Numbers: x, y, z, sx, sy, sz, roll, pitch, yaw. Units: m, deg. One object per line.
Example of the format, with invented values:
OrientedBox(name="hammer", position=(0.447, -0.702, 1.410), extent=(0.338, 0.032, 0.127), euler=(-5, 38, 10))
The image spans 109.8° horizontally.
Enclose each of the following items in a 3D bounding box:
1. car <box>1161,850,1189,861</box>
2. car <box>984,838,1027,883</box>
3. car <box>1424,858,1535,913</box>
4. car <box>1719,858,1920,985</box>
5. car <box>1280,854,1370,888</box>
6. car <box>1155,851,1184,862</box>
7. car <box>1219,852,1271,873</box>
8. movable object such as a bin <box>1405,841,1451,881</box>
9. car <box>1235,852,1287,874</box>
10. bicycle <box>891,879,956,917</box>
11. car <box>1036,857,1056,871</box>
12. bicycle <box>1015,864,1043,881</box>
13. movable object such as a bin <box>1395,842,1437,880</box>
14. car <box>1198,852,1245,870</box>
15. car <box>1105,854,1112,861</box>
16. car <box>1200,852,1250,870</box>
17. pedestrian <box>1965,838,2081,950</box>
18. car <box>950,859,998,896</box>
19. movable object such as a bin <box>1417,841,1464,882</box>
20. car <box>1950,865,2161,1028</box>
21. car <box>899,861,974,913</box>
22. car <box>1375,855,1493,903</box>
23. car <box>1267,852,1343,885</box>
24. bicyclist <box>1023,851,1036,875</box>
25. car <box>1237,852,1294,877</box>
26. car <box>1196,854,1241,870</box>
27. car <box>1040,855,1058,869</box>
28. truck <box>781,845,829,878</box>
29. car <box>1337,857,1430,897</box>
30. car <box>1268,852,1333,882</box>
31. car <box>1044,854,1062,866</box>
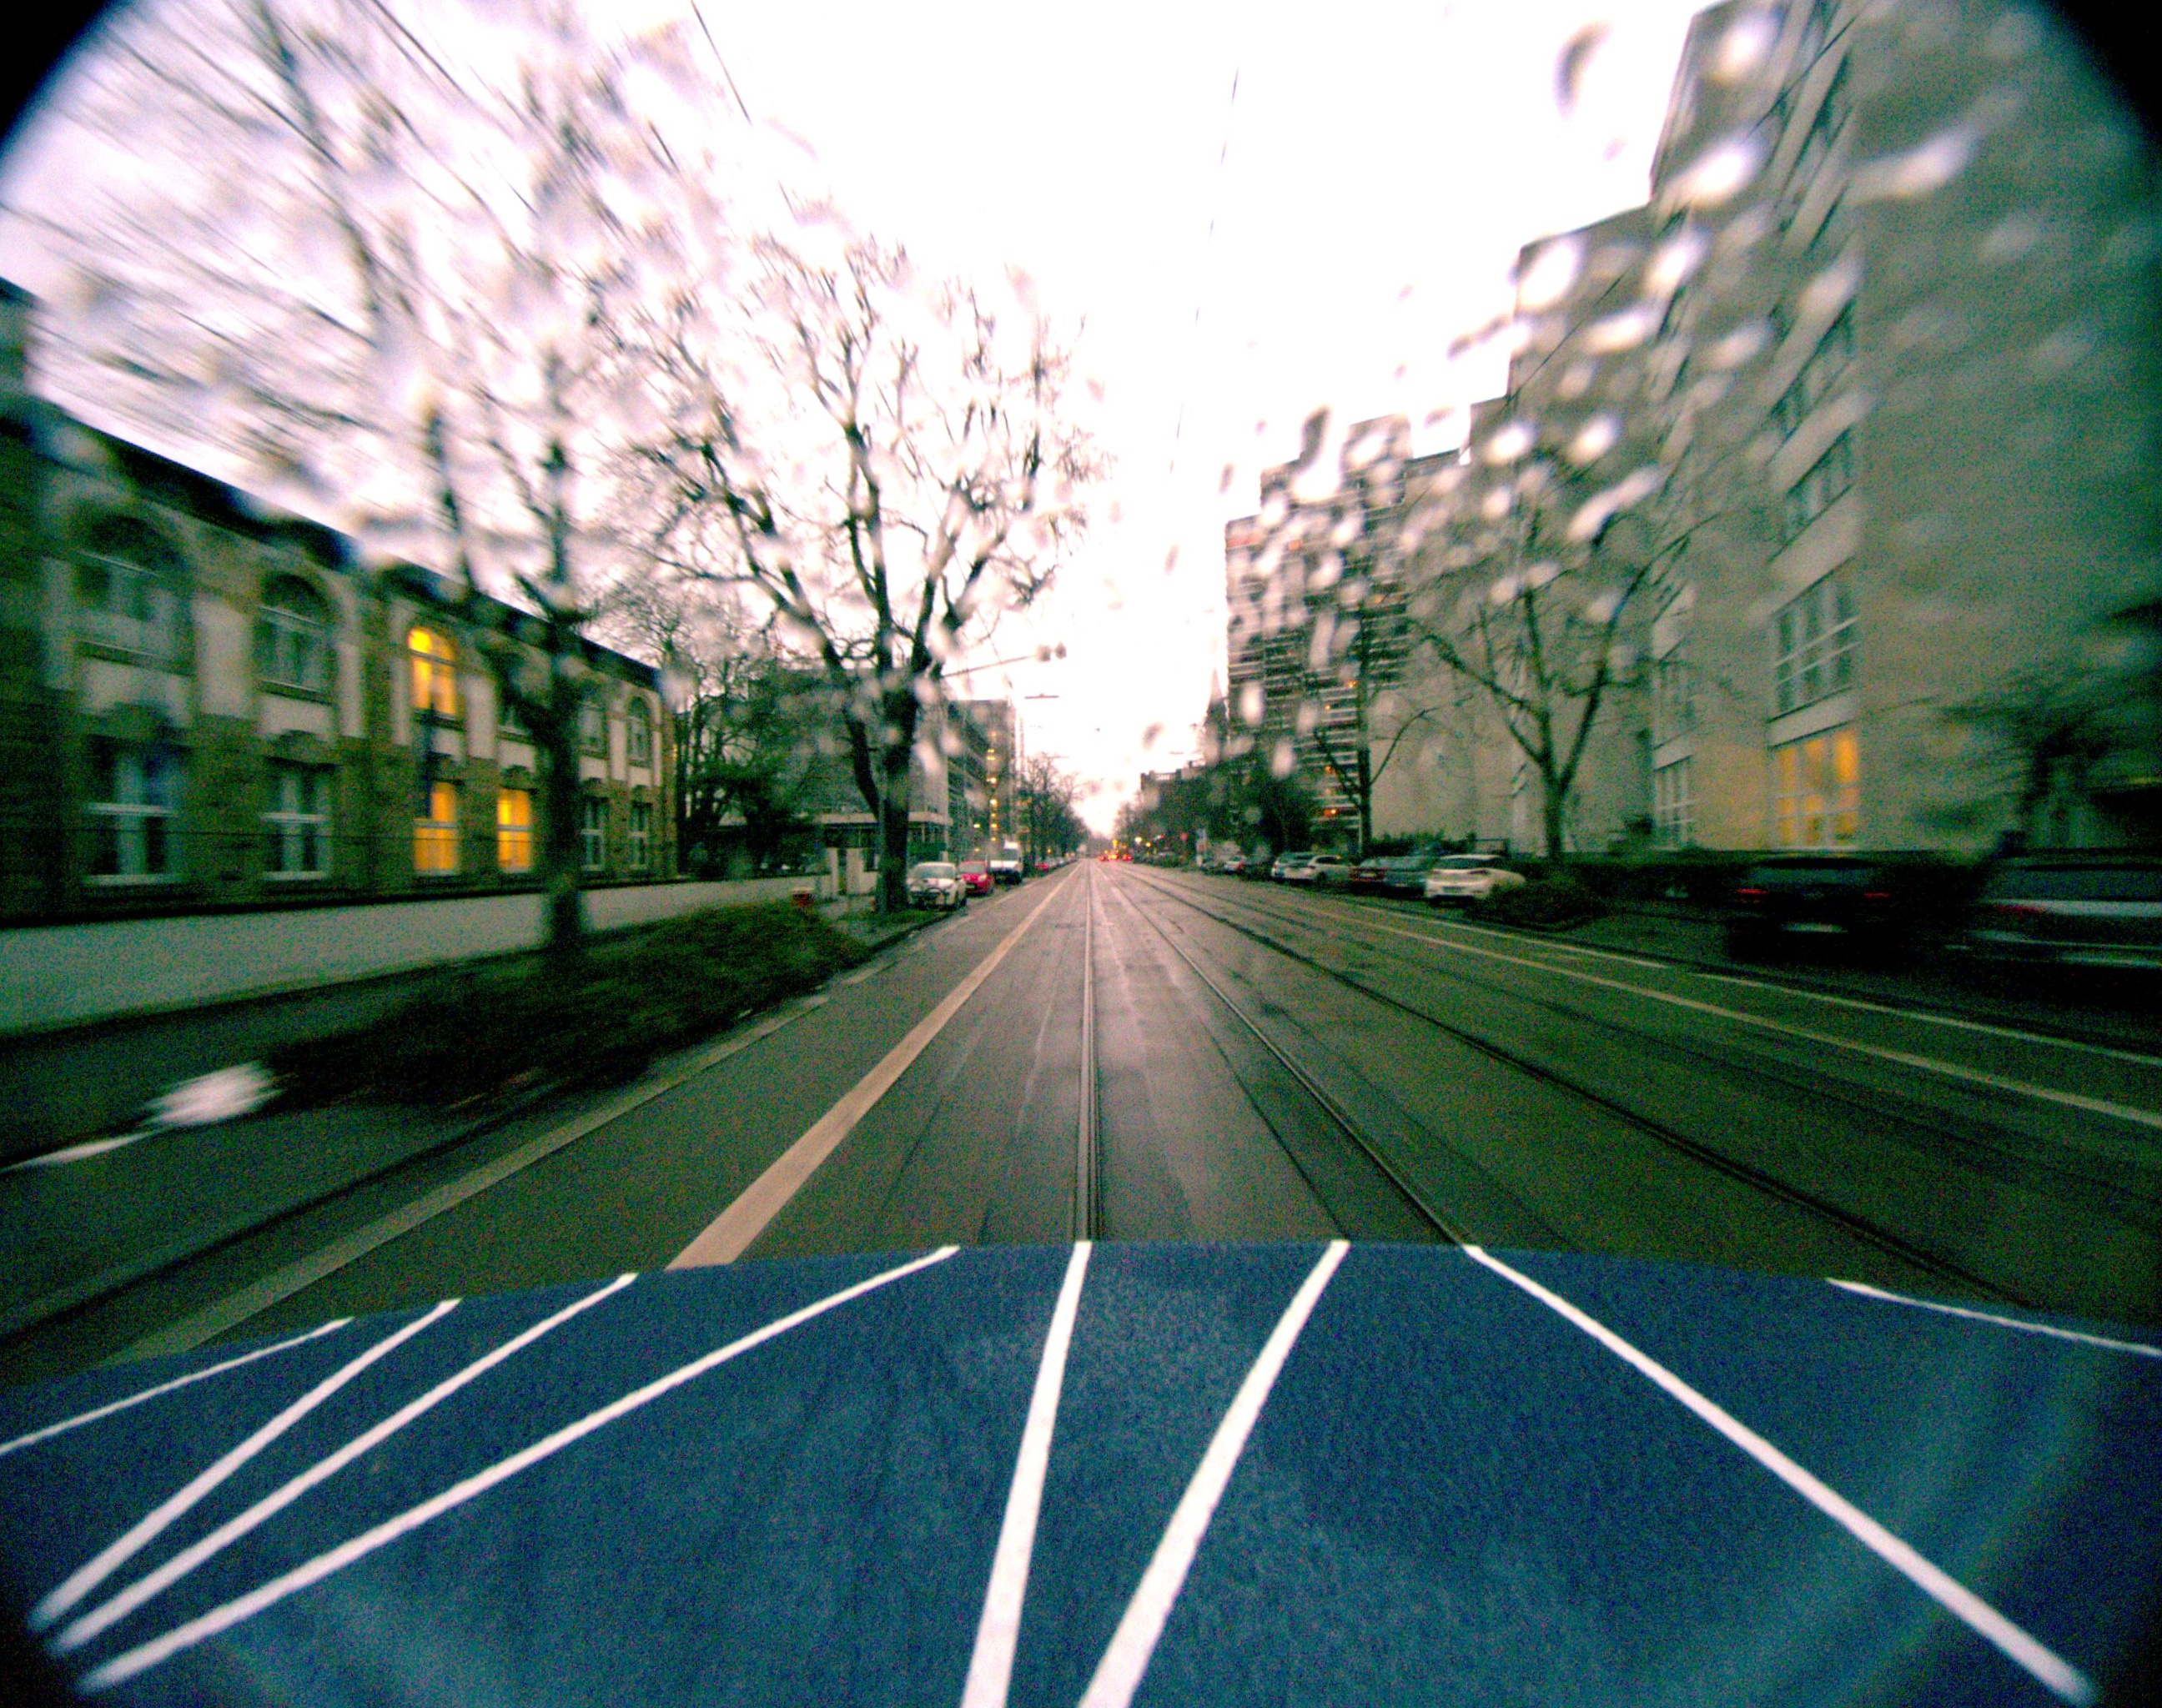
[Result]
OrientedBox(name="car", position=(13.528, 0.219, 109.038), extent=(3.995, 1.477, 1.673), euler=(0, 0, 7))
OrientedBox(name="car", position=(-4.380, 0.363, 44.805), extent=(2.130, 2.472, 5.438), euler=(0, 0, -2))
OrientedBox(name="car", position=(11.431, 0.837, 21.680), extent=(3.861, 1.415, 1.732), euler=(0, 0, -45))
OrientedBox(name="car", position=(10.738, 0.820, 11.055), extent=(4.008, 1.462, 1.826), euler=(-1, 0, -44))
OrientedBox(name="car", position=(11.141, 0.734, 34.596), extent=(4.007, 1.435, 1.732), euler=(0, 1, -32))
OrientedBox(name="car", position=(12.279, 0.369, 105.337), extent=(3.995, 1.477, 1.673), euler=(0, 0, 7))
OrientedBox(name="car", position=(11.822, 0.625, 54.665), extent=(1.788, 1.437, 4.009), euler=(-1, 0, 45))
OrientedBox(name="movable object such as a bin", position=(16.787, 0.347, 36.782), extent=(1.573, 1.849, 1.394), euler=(0, -1, 2))
OrientedBox(name="car", position=(12.307, 0.597, 51.799), extent=(3.458, 1.484, 1.725), euler=(0, 0, -41))
OrientedBox(name="bicycle", position=(-4.518, 1.257, 21.817), extent=(1.717, 1.064, 0.663), euler=(0, 0, 1))
OrientedBox(name="car", position=(-3.617, 1.020, 78.610), extent=(1.753, 1.379, 3.737), euler=(0, 0, 2))
OrientedBox(name="bicycle", position=(-3.656, 1.278, 53.272), extent=(1.895, 1.126, 0.730), euler=(0, 0, -15))
OrientedBox(name="movable object such as a bin", position=(16.818, 0.358, 38.180), extent=(1.573, 1.849, 1.318), euler=(0, -1, 2))
OrientedBox(name="car", position=(12.022, 0.601, 64.750), extent=(4.008, 1.454, 1.851), euler=(0, 0, -41))
OrientedBox(name="car", position=(6.794, 0.860, 186.694), extent=(1.751, 1.535, 4.296), euler=(0, 0, 3))
OrientedBox(name="car", position=(11.550, 0.572, 60.884), extent=(4.008, 1.370, 1.851), euler=(0, 0, -41))
OrientedBox(name="pedestrian", position=(14.647, 0.603, 11.840), extent=(0.598, 1.667, 0.973), euler=(0, 0, 1))
OrientedBox(name="car", position=(-4.572, 0.980, 33.019), extent=(1.647, 1.514, 3.572), euler=(-1, 0, -2))
OrientedBox(name="movable object such as a bin", position=(16.730, 0.363, 35.373), extent=(1.573, 1.849, 1.318), euler=(0, -1, 2))
OrientedBox(name="car", position=(10.945, 0.845, 8.307), extent=(4.008, 1.419, 1.843), euler=(0, 0, -42))
OrientedBox(name="car", position=(-4.543, 0.989, 24.334), extent=(1.696, 1.511, 3.637), euler=(0, 0, 0))
OrientedBox(name="car", position=(11.845, 0.787, 25.431), extent=(4.007, 1.455, 1.732), euler=(0, 1, -34))
OrientedBox(name="car", position=(11.170, 0.687, 37.805), extent=(4.008, 1.554, 1.732), euler=(0, 0, -41))
OrientedBox(name="bicyclist", position=(-3.609, 0.626, 53.288), extent=(0.771, 1.679, 0.706), euler=(0, 0, -15))
OrientedBox(name="car", position=(11.700, 0.661, 48.111), extent=(3.862, 1.484, 1.691), euler=(0, 0, -43))
OrientedBox(name="car", position=(12.276, 0.739, 67.946), extent=(4.008, 1.391, 1.851), euler=(0, 0, -41))
OrientedBox(name="car", position=(-3.605, 0.878, 87.364), extent=(1.753, 1.575, 3.737), euler=(0, 0, 2))
OrientedBox(name="truck", position=(-23.280, 0.533, 64.431), extent=(2.132, 2.573, 7.075), euler=(0, 1, -6))
OrientedBox(name="car", position=(11.326, 0.812, 28.257), extent=(1.745, 1.344, 4.357), euler=(1, 1, 43))
OrientedBox(name="car", position=(12.045, 0.685, 41.541), extent=(3.885, 1.542, 1.688), euler=(0, 0, -44))
OrientedBox(name="car", position=(-3.596, 0.769, 98.140), extent=(1.866, 1.584, 4.001), euler=(0, 0, 3))
